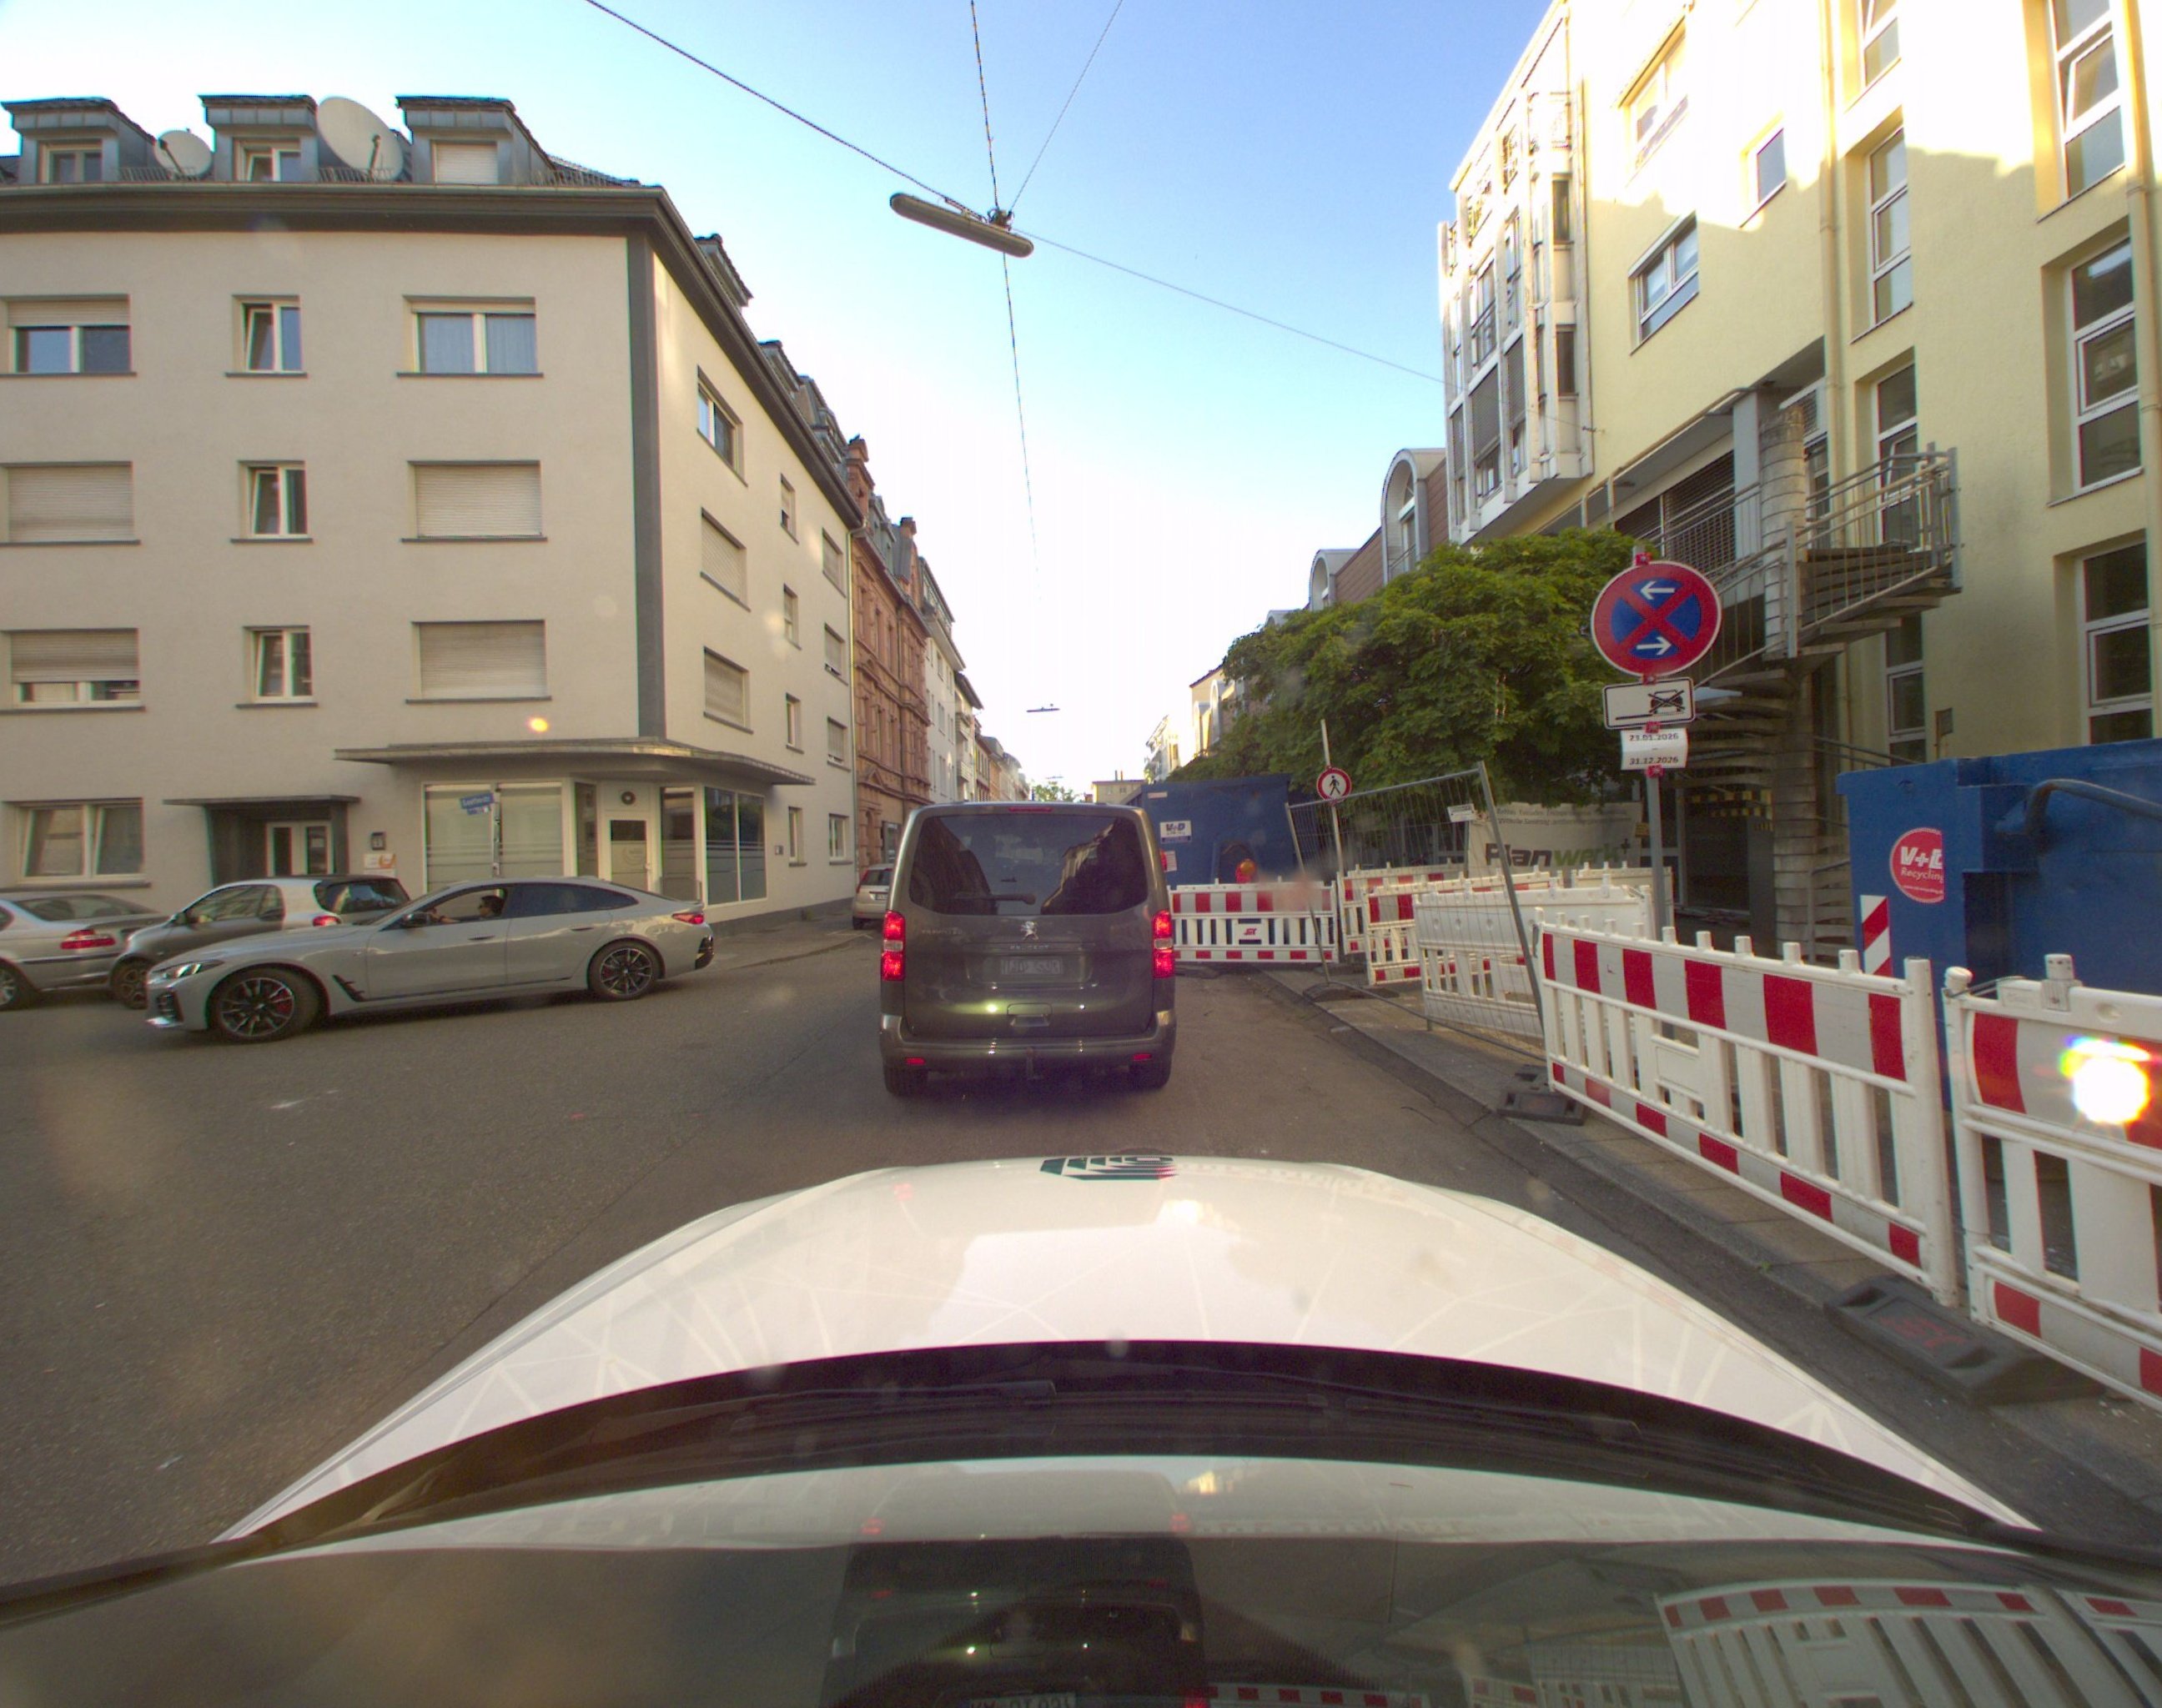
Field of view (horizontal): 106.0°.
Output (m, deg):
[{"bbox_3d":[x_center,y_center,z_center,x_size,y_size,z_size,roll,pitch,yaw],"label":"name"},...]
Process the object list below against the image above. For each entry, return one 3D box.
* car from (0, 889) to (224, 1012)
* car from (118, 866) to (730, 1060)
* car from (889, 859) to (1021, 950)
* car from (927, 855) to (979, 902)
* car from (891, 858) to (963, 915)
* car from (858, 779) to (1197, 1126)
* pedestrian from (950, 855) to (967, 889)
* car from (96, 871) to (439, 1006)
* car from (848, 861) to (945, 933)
[{"bbox_3d":[-14.243,1.238,10.651,4.193,1.403,1.602,-1,0,-3],"label":"car"},{"bbox_3d":[-6.722,0.951,9.069,4.834,1.451,1.912,-2,0,-38],"label":"car"},{"bbox_3d":[-2.253,0.884,15.402,1.648,1.460,3.422,-3,-1,4],"label":"car"},{"bbox_3d":[-4.878,0.928,31.428,1.663,1.666,3.087,3,-1,-4],"label":"car"},{"bbox_3d":[-4.512,0.931,24.333,1.653,1.525,3.412,3,-1,-4],"label":"car"},{"bbox_3d":[-0.436,0.557,6.673,1.862,1.886,4.228,-1,-1,-4],"label":"car"},{"bbox_3d":[-6.123,0.883,40.816,0.739,1.664,0.702,-2,0,-5],"label":"pedestrian"},{"bbox_3d":[-10.323,1.024,10.501,2.778,1.540,1.593,-1,0,-1],"label":"car"},{"bbox_3d":[-4.202,0.941,19.014,1.653,1.460,3.412,3,-1,-4],"label":"car"}]
